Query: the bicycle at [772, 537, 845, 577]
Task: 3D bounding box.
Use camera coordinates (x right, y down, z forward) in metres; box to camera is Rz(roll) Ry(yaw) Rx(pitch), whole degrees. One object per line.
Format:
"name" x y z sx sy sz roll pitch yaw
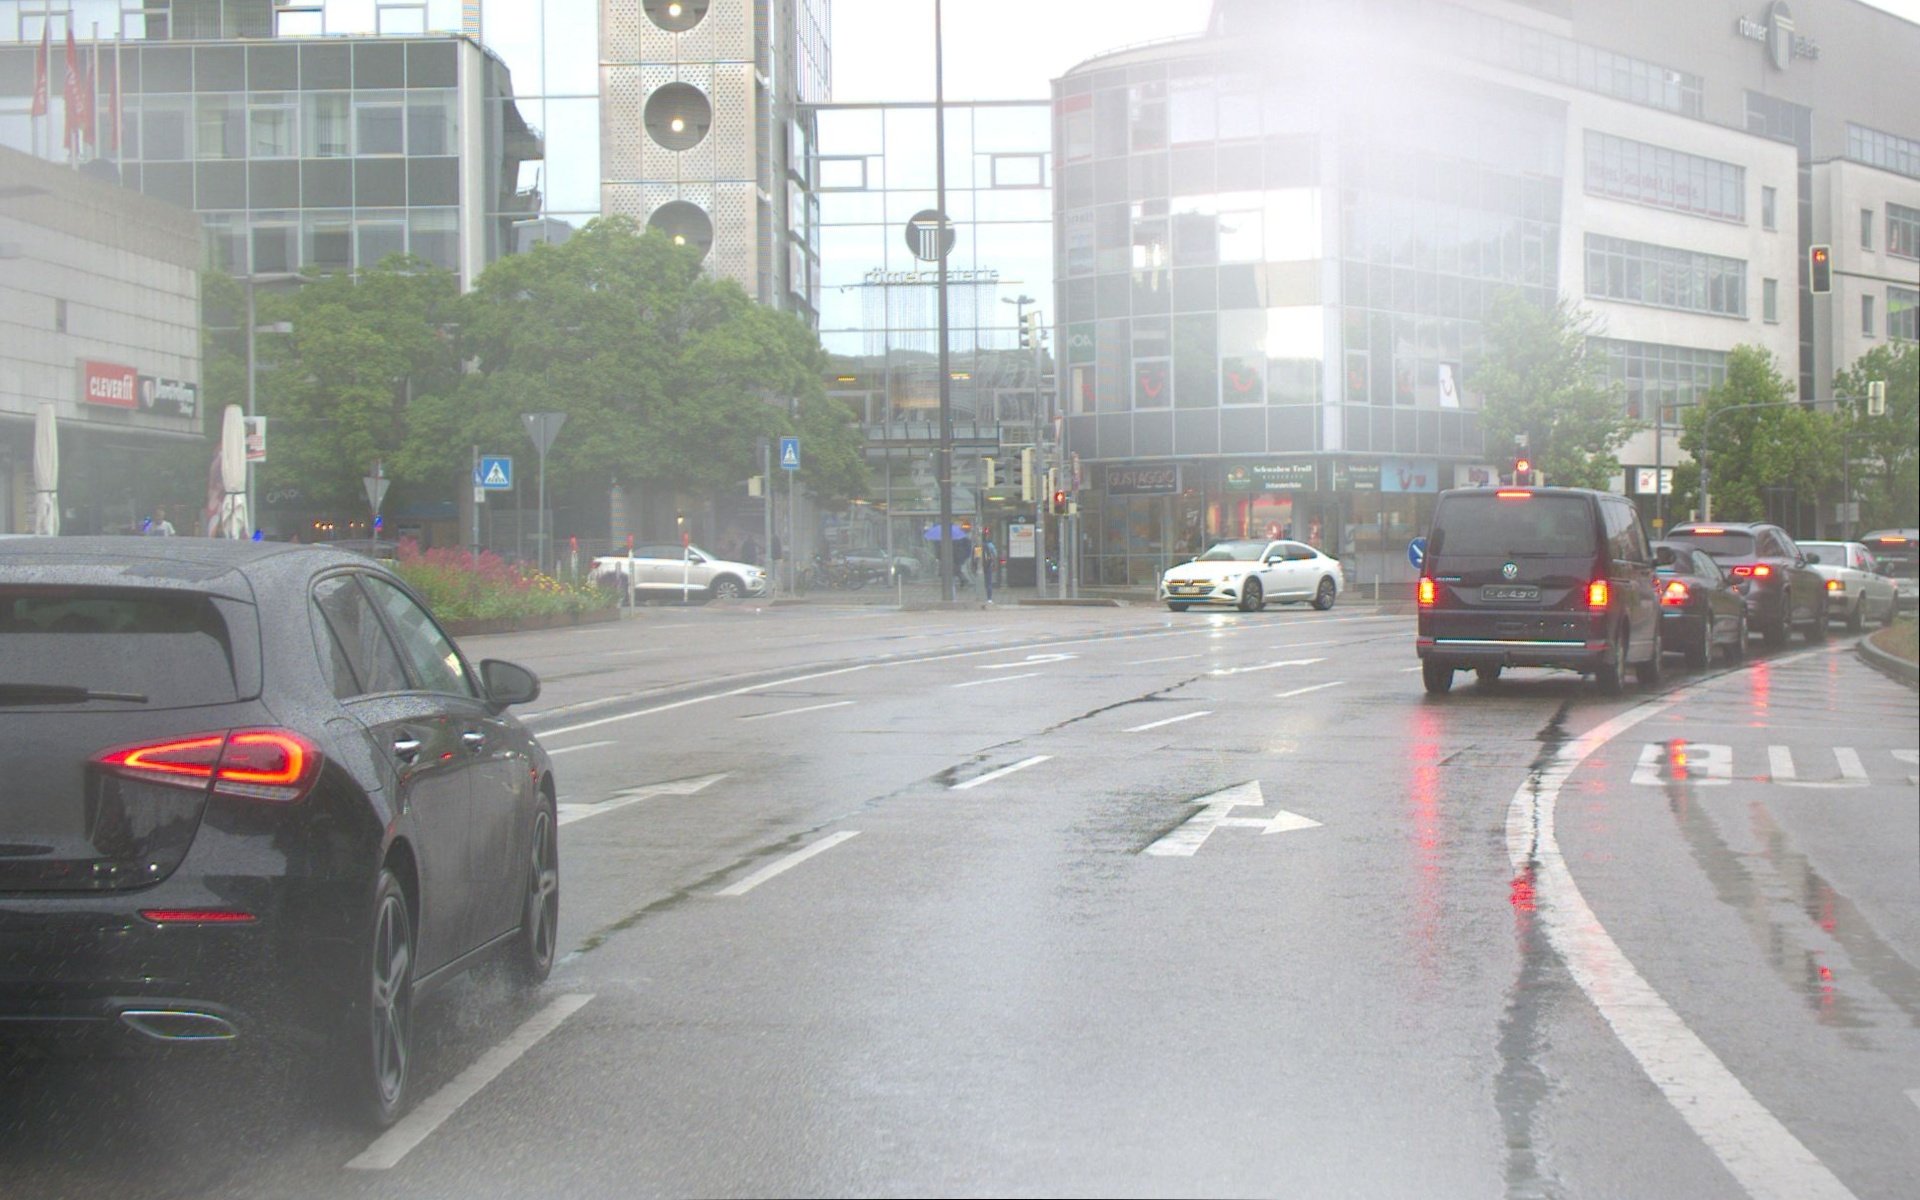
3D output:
"bicycle" -4.849 -1.368 109.766 2.273 1.242 0.676 -1 1 1

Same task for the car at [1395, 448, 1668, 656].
"car" 5.658 -0.484 33.600 1.997 1.887 4.583 1 1 18

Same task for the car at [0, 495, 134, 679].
"car" -8.430 -0.123 29.054 1.700 1.461 4.104 -1 1 3

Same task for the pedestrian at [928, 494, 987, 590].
"pedestrian" -0.057 -1.235 72.668 1.162 2.007 1.329 0 1 -4

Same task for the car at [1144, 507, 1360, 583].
"car" 5.842 -1.118 68.381 1.846 1.455 4.797 1 2 40

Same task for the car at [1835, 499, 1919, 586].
"car" 16.233 -0.997 58.622 1.914 1.395 3.453 0 2 25

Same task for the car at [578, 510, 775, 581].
"car" -6.487 -1.258 78.870 4.193 1.590 1.870 0 1 8

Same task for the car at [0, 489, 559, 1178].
"car" -2.224 0.462 9.550 1.815 1.524 3.813 1 2 -1

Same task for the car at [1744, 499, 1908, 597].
"car" 13.411 -0.835 53.095 1.636 1.443 4.263 1 2 26

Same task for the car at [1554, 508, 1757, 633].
"car" 8.228 -0.387 40.408 1.633 1.381 4.510 1 2 20

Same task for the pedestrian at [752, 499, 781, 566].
"pedestrian" -5.844 -2.044 103.826 0.763 2.007 0.714 0 1 7

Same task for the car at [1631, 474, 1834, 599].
"car" 10.535 -0.881 46.689 1.903 1.615 4.330 1 2 24
